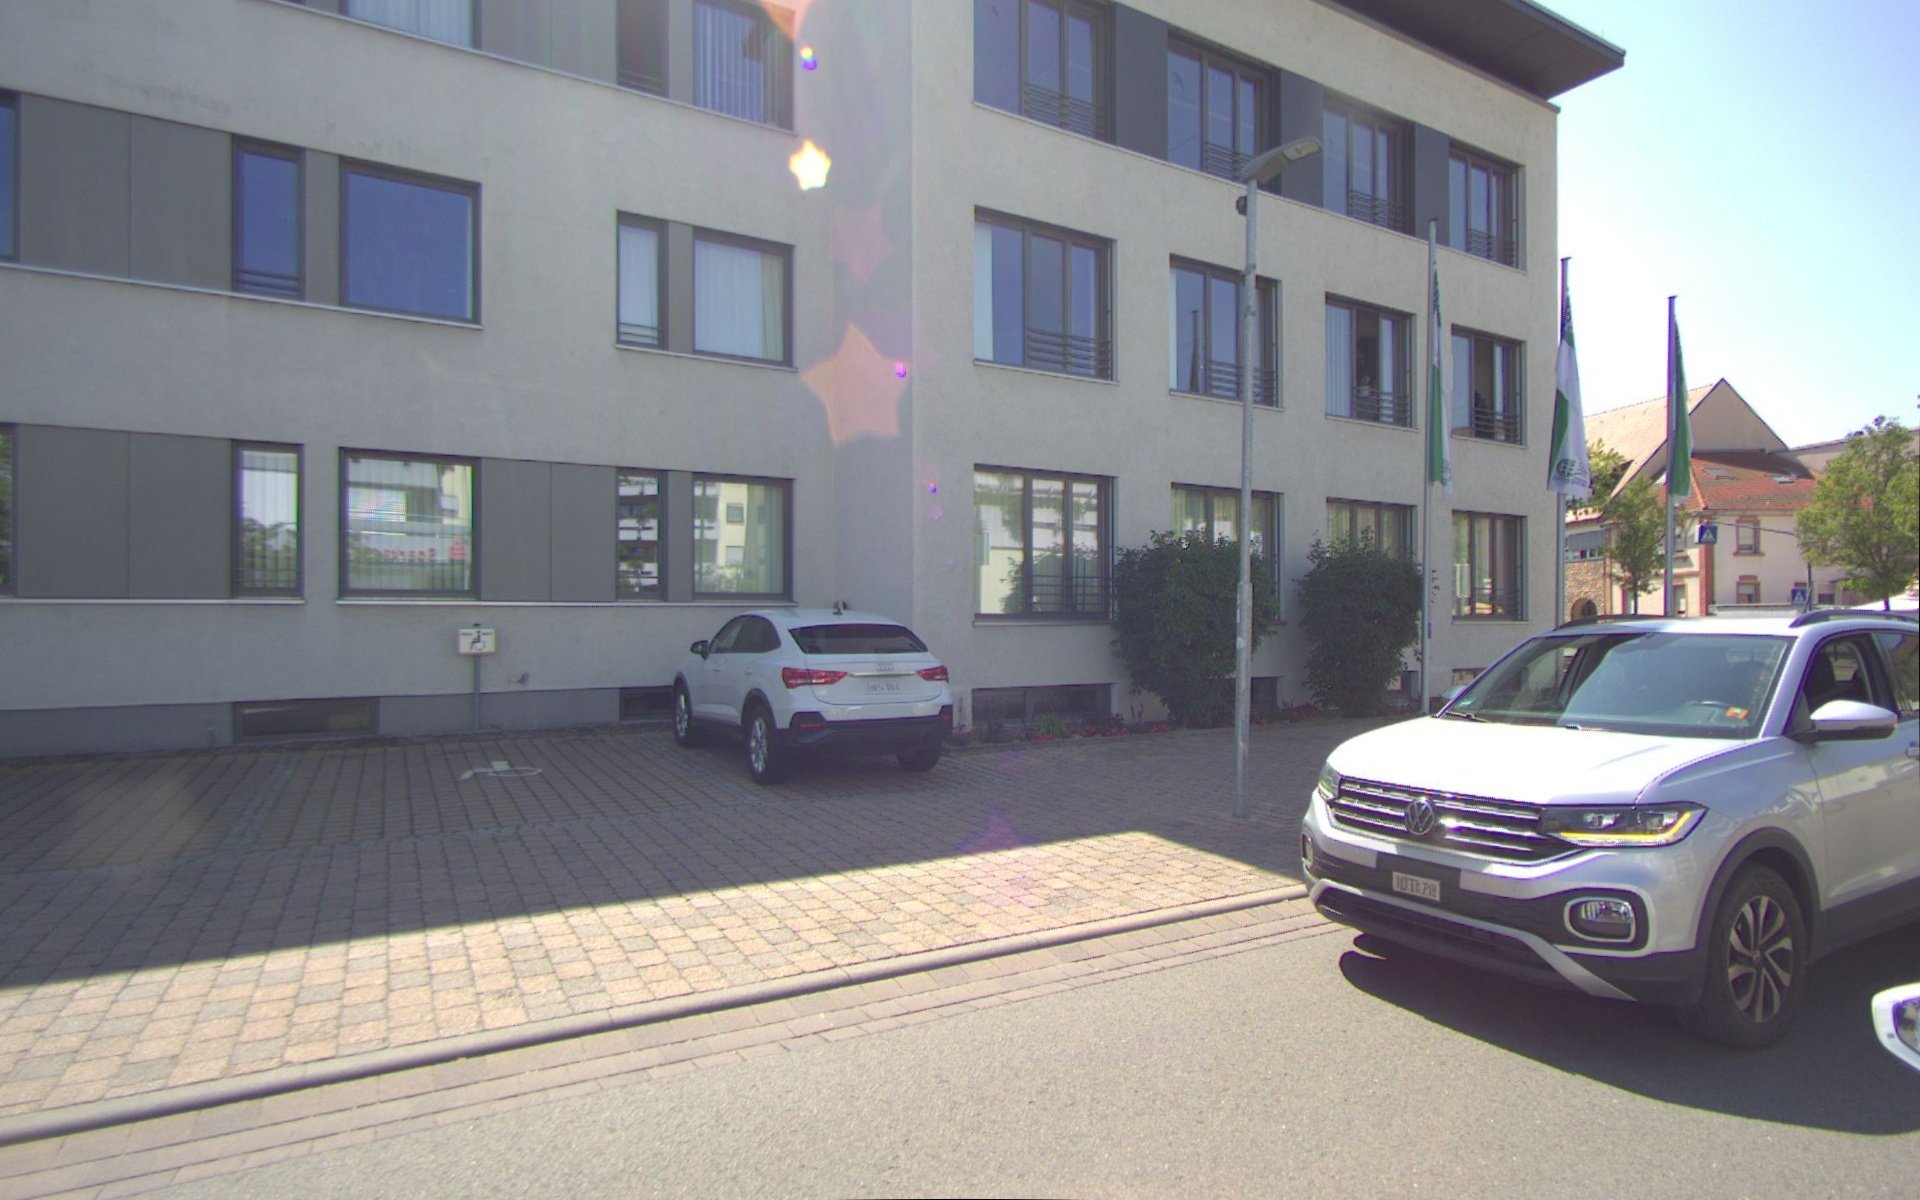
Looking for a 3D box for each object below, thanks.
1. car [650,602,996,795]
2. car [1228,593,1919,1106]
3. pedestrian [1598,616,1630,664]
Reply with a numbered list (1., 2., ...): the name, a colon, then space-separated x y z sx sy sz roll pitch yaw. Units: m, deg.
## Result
1. car: -1.705 0.830 10.741 2.123 1.575 4.485 1 0 -30
2. car: 3.434 0.817 4.905 3.951 1.594 1.843 1 -2 -29
3. pedestrian: 23.569 1.431 36.191 0.799 1.676 0.851 0 -1 21
